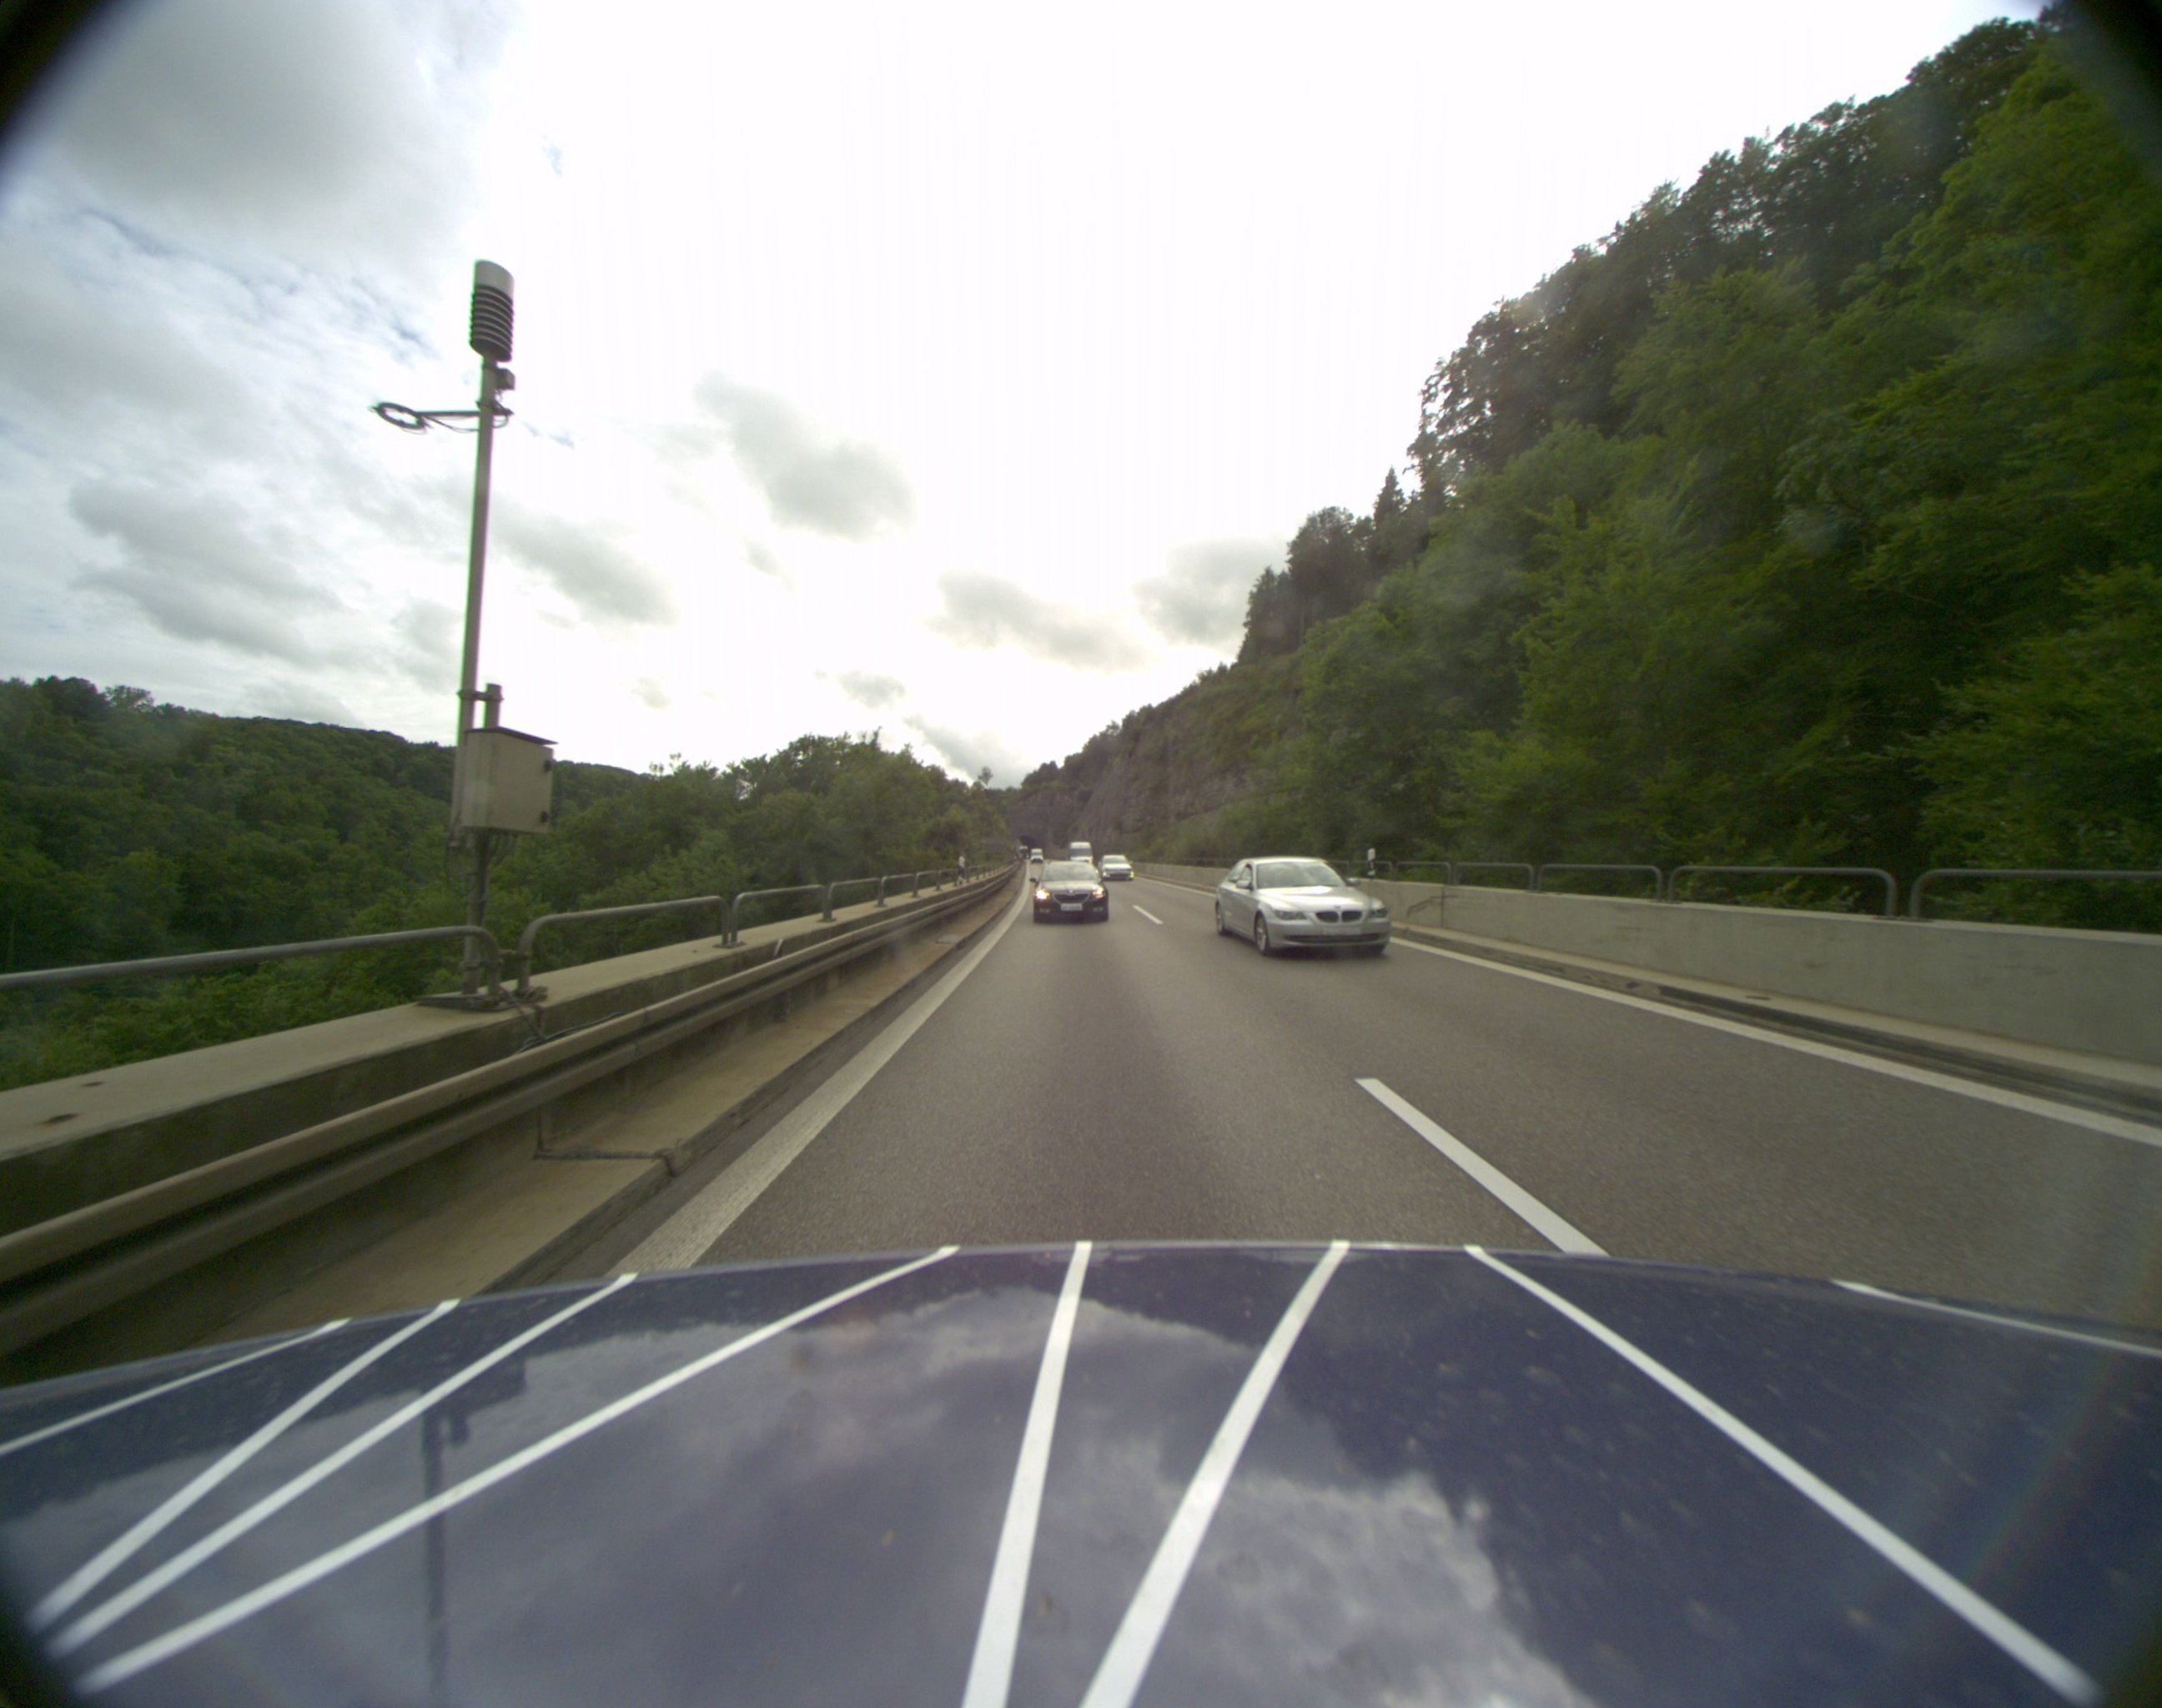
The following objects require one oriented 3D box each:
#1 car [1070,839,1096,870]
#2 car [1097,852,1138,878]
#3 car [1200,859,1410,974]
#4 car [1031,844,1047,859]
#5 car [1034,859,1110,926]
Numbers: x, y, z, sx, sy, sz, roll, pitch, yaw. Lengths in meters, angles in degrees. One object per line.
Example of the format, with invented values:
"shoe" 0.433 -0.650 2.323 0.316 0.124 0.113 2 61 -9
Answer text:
"car" 0.111 -0.034 65.511 1.869 2.444 4.980 -2 2 -3
"car" 2.088 0.616 44.754 1.923 1.452 4.229 -2 0 -3
"car" 3.423 0.857 12.788 1.833 1.448 5.134 -2 0 -2
"car" -7.294 -0.378 131.247 2.675 2.408 6.118 -2 0 -4
"car" -0.261 0.893 19.347 1.677 1.418 4.472 -2 0 -1
